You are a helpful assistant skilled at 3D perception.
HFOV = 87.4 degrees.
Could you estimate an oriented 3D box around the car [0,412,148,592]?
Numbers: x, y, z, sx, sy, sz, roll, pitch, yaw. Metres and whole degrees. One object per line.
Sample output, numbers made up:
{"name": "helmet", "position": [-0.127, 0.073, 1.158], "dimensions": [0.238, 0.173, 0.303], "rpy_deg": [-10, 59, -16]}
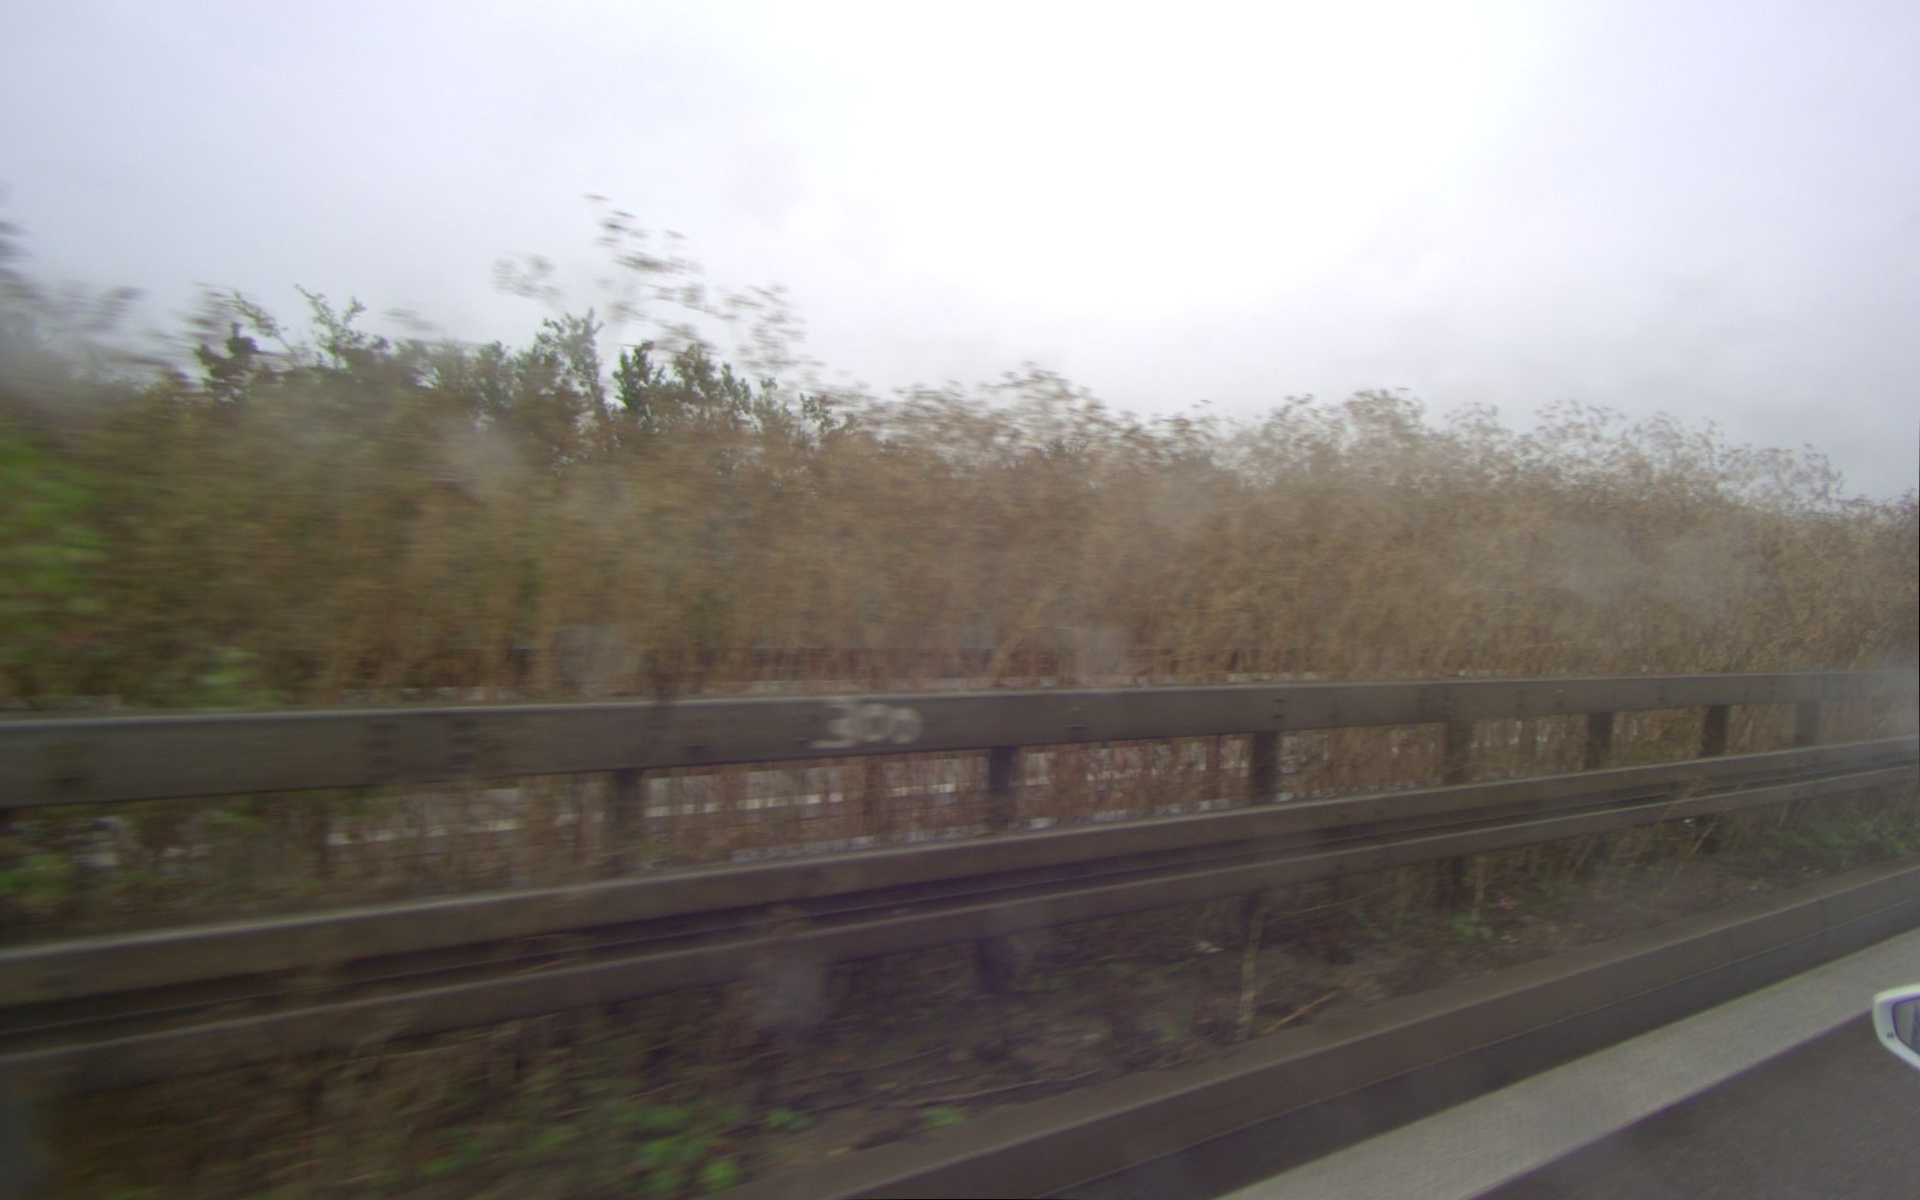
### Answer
{"name": "car", "position": [-12.390, -1.162, 11.943], "dimensions": [3.953, 2.040, 1.984], "rpy_deg": [1, 0, -30]}
